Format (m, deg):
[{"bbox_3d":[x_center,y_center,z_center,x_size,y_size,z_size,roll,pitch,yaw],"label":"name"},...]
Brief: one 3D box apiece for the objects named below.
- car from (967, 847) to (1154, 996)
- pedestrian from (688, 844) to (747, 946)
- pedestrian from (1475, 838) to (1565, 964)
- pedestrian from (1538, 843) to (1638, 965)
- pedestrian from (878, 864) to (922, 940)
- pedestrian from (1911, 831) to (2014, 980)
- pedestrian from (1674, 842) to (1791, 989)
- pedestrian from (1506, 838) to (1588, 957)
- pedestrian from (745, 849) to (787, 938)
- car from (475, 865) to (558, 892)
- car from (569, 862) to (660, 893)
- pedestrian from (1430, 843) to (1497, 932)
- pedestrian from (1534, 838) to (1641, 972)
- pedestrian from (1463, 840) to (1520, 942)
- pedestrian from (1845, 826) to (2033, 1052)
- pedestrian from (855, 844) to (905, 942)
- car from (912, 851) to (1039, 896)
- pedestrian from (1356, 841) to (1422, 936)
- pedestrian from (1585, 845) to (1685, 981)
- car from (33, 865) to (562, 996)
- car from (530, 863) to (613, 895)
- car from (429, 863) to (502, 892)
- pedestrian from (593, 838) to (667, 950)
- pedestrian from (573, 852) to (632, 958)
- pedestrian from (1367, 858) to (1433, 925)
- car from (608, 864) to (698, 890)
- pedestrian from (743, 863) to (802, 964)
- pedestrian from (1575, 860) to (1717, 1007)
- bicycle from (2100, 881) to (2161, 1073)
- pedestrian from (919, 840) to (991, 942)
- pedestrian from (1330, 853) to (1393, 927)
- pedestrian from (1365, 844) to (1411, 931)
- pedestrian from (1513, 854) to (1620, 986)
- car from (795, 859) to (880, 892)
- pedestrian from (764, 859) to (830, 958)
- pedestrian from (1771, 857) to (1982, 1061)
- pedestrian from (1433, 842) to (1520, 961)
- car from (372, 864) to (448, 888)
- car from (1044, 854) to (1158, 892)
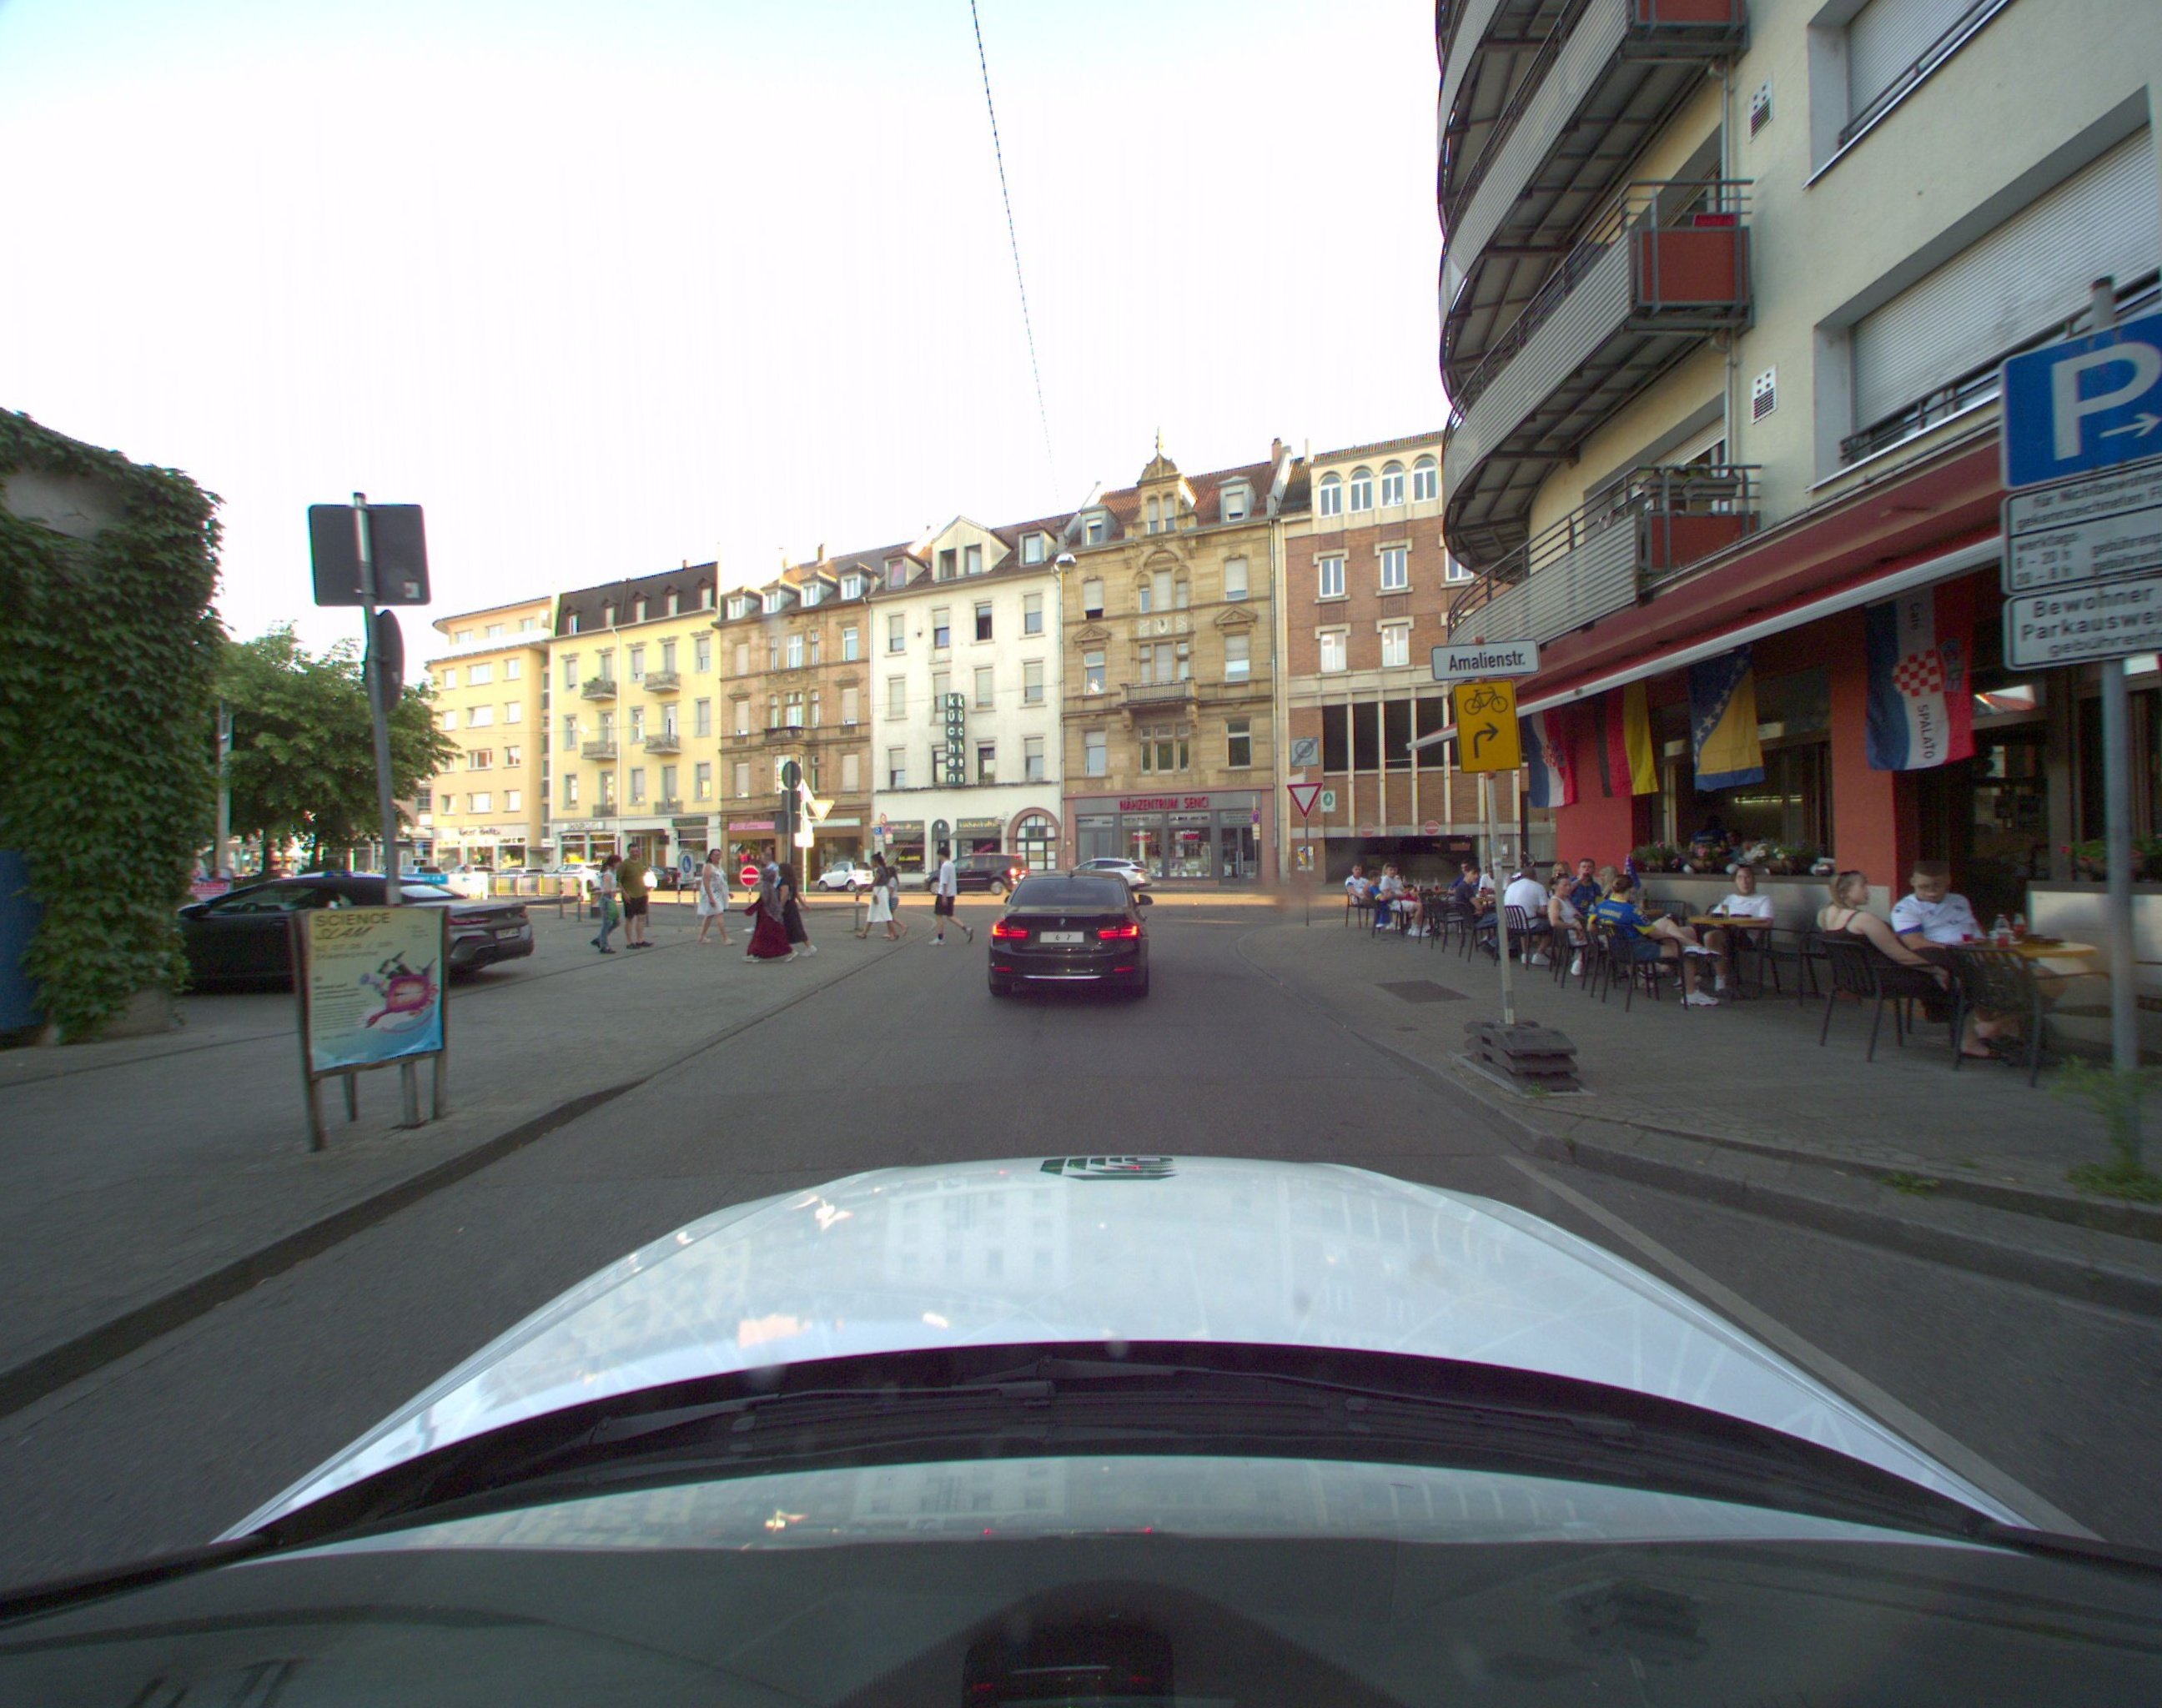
[{"bbox_3d":[-0.150,0.721,10.324,1.881,1.492,4.205,-1,-1,2],"label":"car"},{"bbox_3d":[-6.700,0.732,15.005,0.886,1.803,0.707,1,-1,-32],"label":"pedestrian"},{"bbox_3d":[5.617,0.583,10.457,0.647,1.527,0.699,-4,0,-5],"label":"pedestrian"},{"bbox_3d":[6.479,0.616,10.450,0.765,1.504,0.782,-1,0,-3],"label":"pedestrian"},{"bbox_3d":[-3.682,0.954,16.556,0.718,1.486,0.598,1,-1,-30],"label":"pedestrian"},{"bbox_3d":[10.902,0.615,10.084,0.610,1.777,0.616,0,-1,-9],"label":"pedestrian"},{"bbox_3d":[6.544,0.595,8.206,0.710,1.421,0.602,1,-1,-2],"label":"pedestrian"},{"bbox_3d":[6.361,0.579,11.144,0.672,1.536,0.654,-3,0,-3],"label":"pedestrian"},{"bbox_3d":[-6.367,0.785,16.454,0.689,1.746,0.709,1,-1,-30],"label":"pedestrian"},{"bbox_3d":[-35.516,1.488,51.213,4.810,1.543,2.033,0,0,24],"label":"car"},{"bbox_3d":[-24.705,1.204,43.139,4.187,1.518,1.824,1,0,19],"label":"car"},{"bbox_3d":[6.859,0.582,14.611,0.717,1.536,0.844,1,-1,-35],"label":"pedestrian"},{"bbox_3d":[5.992,0.587,9.668,0.848,1.536,0.679,1,-1,-4],"label":"pedestrian"},{"bbox_3d":[6.457,0.563,12.796,0.743,1.536,0.652,0,-1,32],"label":"pedestrian"},{"bbox_3d":[6.324,0.580,6.022,0.854,1.536,0.709,1,-1,-23],"label":"pedestrian"},{"bbox_3d":[-3.972,0.742,16.097,0.783,1.875,0.708,1,-1,-30],"label":"pedestrian"},{"bbox_3d":[-4.209,0.753,32.714,4.565,1.652,2.108,1,1,18],"label":"car"},{"bbox_3d":[5.312,0.587,14.095,0.710,1.536,0.853,-5,-1,1],"label":"pedestrian"},{"bbox_3d":[6.114,0.632,9.016,0.664,1.434,0.560,-2,0,-4],"label":"pedestrian"},{"bbox_3d":[-9.567,0.891,10.397,4.431,1.431,2.102,1,0,-7],"label":"car"},{"bbox_3d":[-30.451,1.451,48.685,4.603,1.745,1.898,0,0,23],"label":"car"},{"bbox_3d":[-40.488,1.500,53.592,4.355,1.762,1.884,0,0,23],"label":"car"},{"bbox_3d":[-7.825,0.678,14.152,0.707,1.877,0.855,0,-1,13],"label":"pedestrian"},{"bbox_3d":[-7.874,0.813,13.394,0.718,1.669,0.873,1,-1,-36],"label":"pedestrian"},{"bbox_3d":[6.275,0.734,16.047,0.687,1.282,0.959,0,-3,-26],"label":"pedestrian"},{"bbox_3d":[-24.745,1.342,47.033,4.791,1.434,2.011,-1,-1,23],"label":"car"},{"bbox_3d":[-4.893,0.914,12.910,0.683,1.542,0.585,1,-1,-42],"label":"pedestrian"},{"bbox_3d":[5.355,0.728,7.794,0.868,1.306,0.857,-2,-1,19],"label":"pedestrian"},{"bbox_3d":[6.452,0.706,3.938,0.547,1.087,2.005,1,0,0],"label":"bicycle"},{"bbox_3d":[-2.366,0.668,15.336,0.878,1.853,0.991,0,-1,39],"label":"pedestrian"},{"bbox_3d":[5.480,0.688,15.951,0.772,1.382,0.832,-1,-1,-26],"label":"pedestrian"},{"bbox_3d":[5.574,0.597,14.811,0.707,1.536,0.692,-1,-1,16],"label":"pedestrian"},{"bbox_3d":[5.286,0.691,8.906,0.652,1.345,0.748,-3,0,-3],"label":"pedestrian"},{"bbox_3d":[-12.509,1.049,41.807,3.951,1.585,1.715,0,0,23],"label":"car"},{"bbox_3d":[-4.718,0.879,13.548,0.803,1.582,0.722,1,-1,-42],"label":"pedestrian"},{"bbox_3d":[5.521,0.683,5.675,0.854,1.278,0.709,-1,-3,-23],"label":"pedestrian"},{"bbox_3d":[5.430,0.628,11.221,0.711,1.536,0.758,-4,0,-5],"label":"pedestrian"},{"bbox_3d":[-46.155,1.514,56.021,4.746,1.613,2.011,-1,-1,22],"label":"car"},{"bbox_3d":[0.914,0.808,36.233,4.626,1.535,2.011,1,0,22],"label":"car"}]
